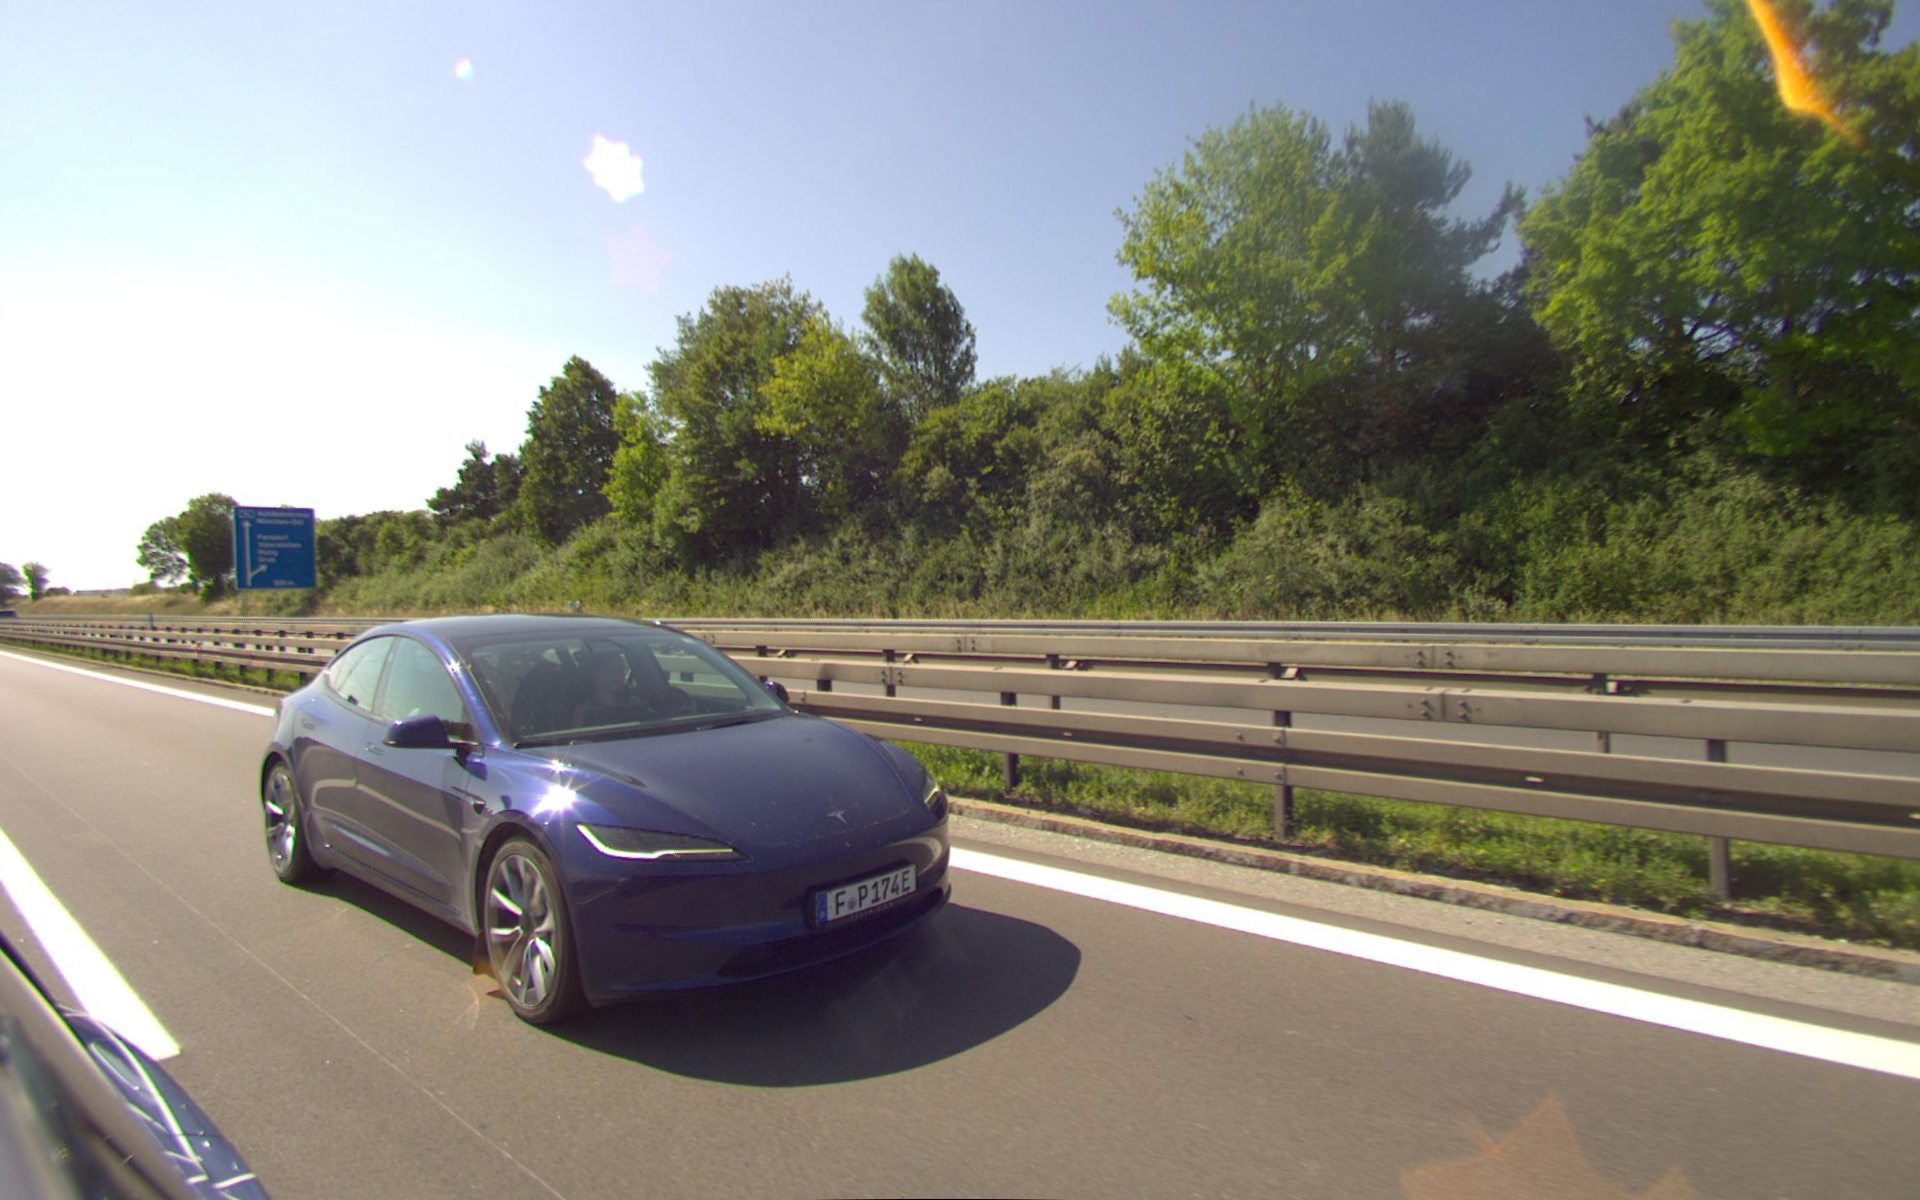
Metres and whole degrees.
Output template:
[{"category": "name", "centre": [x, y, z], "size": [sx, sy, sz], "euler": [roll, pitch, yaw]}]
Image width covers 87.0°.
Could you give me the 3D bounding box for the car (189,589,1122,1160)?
[{"category": "car", "centre": [-2.160, 0.724, 5.218], "size": [5.864, 1.443, 1.828], "euler": [-1, 0, 42]}]

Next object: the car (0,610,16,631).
[{"category": "car", "centre": [-94.256, 2.057, 99.168], "size": [5.690, 2.005, 1.973], "euler": [-1, 1, 42]}]
